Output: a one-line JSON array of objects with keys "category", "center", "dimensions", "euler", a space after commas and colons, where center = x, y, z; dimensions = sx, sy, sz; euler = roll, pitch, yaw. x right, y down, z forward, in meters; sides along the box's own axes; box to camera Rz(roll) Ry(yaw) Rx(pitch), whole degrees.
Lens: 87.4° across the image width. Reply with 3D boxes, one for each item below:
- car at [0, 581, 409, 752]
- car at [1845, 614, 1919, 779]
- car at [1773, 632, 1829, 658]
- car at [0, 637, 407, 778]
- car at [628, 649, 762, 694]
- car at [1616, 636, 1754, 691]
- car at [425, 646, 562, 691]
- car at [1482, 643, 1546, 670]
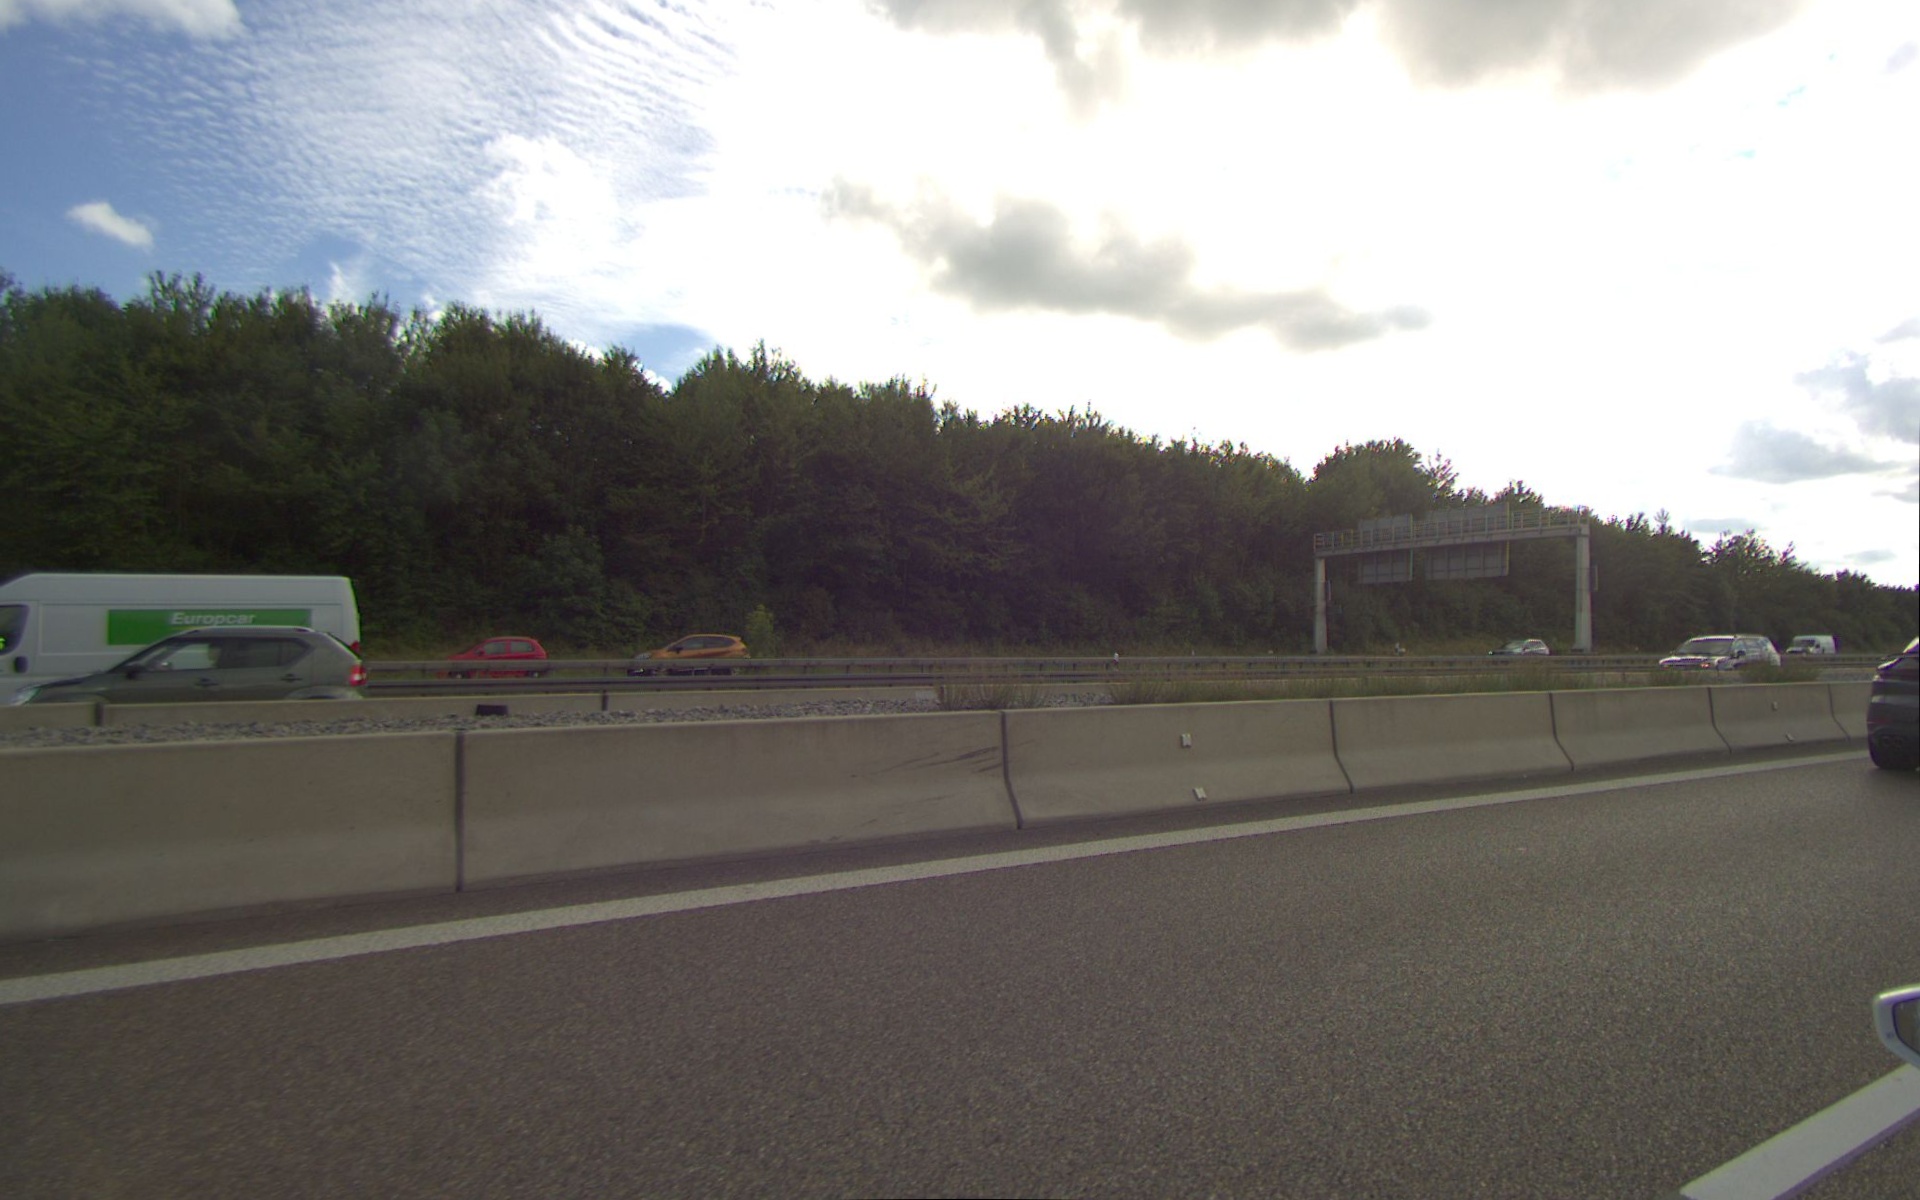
[{"category": "car", "center": [-12.078, 0.962, 15.288], "dimensions": [6.387, 2.301, 2.153], "euler": [1, -2, -31]}, {"category": "car", "center": [12.189, 1.013, 11.205], "dimensions": [5.436, 1.657, 1.903], "euler": [1, -2, -31]}, {"category": "car", "center": [77.205, 4.108, 92.236], "dimensions": [5.819, 2.264, 1.985], "euler": [1, -3, -29]}, {"category": "car", "center": [-9.307, 1.242, 12.693], "dimensions": [4.005, 1.531, 1.728], "euler": [1, -2, -31]}, {"category": "car", "center": [-8.731, 2.323, 33.177], "dimensions": [4.005, 1.383, 1.556], "euler": [1, -2, -31]}, {"category": "car", "center": [22.594, 1.934, 31.243], "dimensions": [4.726, 1.581, 1.765], "euler": [1, -3, -31]}, {"category": "car", "center": [-15.537, 2.254, 33.512], "dimensions": [4.005, 1.383, 1.556], "euler": [1, -2, -31]}, {"category": "car", "center": [37.065, 3.737, 67.197], "dimensions": [4.460, 1.749, 1.788], "euler": [1, -3, -31]}]
